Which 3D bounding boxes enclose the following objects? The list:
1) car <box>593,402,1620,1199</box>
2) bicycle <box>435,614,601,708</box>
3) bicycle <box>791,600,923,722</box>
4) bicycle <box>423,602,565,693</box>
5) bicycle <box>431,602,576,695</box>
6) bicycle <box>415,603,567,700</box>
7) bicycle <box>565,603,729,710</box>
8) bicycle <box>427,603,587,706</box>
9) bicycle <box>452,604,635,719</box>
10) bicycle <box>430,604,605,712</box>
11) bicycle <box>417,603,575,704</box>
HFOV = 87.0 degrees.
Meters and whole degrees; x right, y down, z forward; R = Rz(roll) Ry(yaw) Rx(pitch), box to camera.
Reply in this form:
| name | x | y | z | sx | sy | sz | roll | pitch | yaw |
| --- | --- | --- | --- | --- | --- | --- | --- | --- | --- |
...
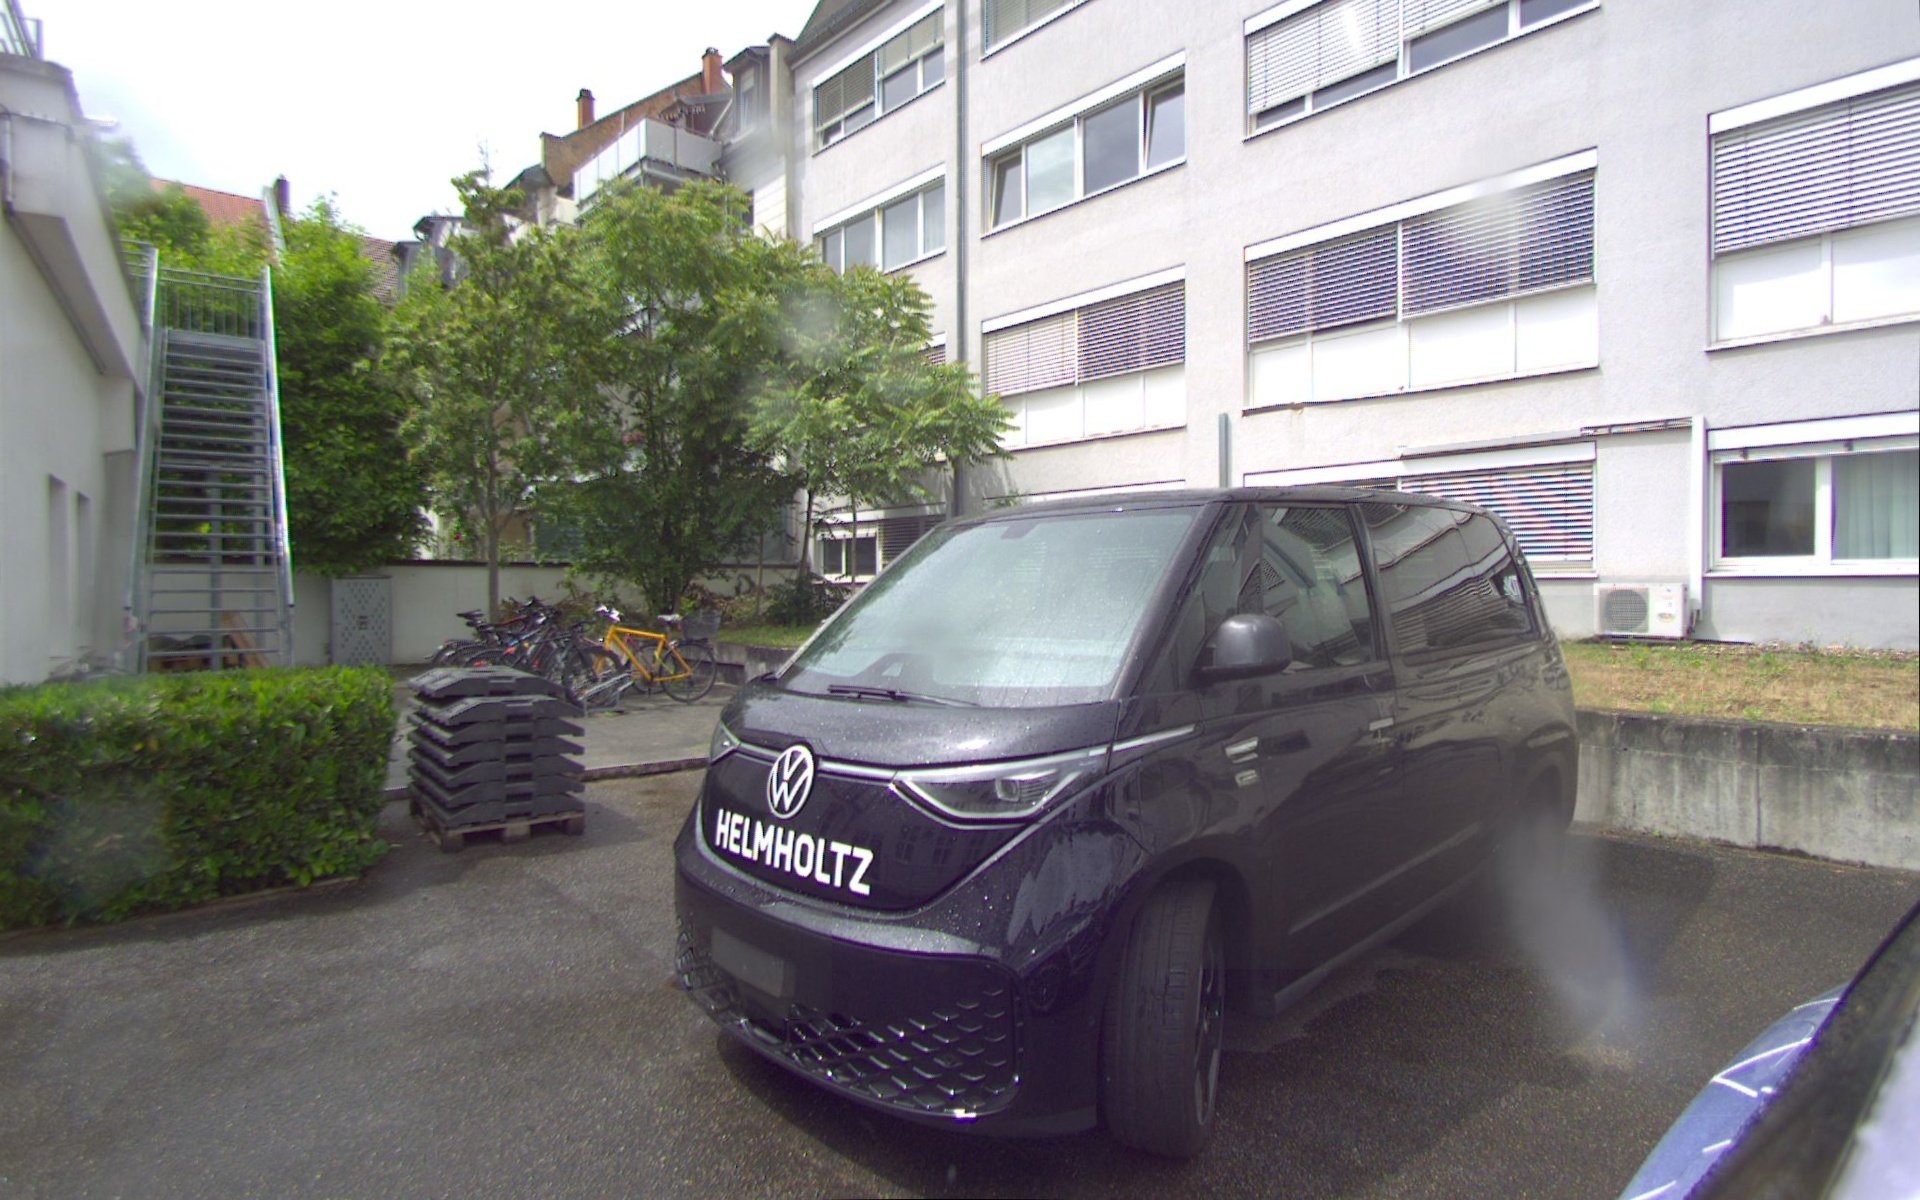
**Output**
| name | x | y | z | sx | sy | sz | roll | pitch | yaw |
| --- | --- | --- | --- | --- | --- | --- | --- | --- | --- |
| car | 1.107 | 0.464 | 4.390 | 4.671 | 1.888 | 1.965 | -3 | 2 | -44 |
| bicycle | -5.128 | 0.684 | 11.832 | 1.766 | 0.979 | 0.329 | -1 | 1 | -43 |
| bicycle | -1.114 | 0.587 | 10.598 | 0.439 | 1.117 | 1.795 | -4 | 3 | -39 |
| bicycle | -6.230 | 0.608 | 13.600 | 1.726 | 1.117 | 0.341 | -1 | 1 | -43 |
| bicycle | -5.987 | 0.608 | 13.344 | 1.726 | 1.117 | 0.354 | -1 | 1 | -43 |
| bicycle | -5.872 | 0.613 | 12.747 | 1.726 | 1.117 | 0.345 | -1 | 1 | -43 |
| bicycle | -3.542 | 0.608 | 11.535 | 1.762 | 1.117 | 0.367 | -1 | 1 | -35 |
| bicycle | -5.368 | 0.615 | 12.077 | 1.726 | 1.117 | 0.332 | -1 | 1 | -43 |
| bicycle | -4.395 | 0.619 | 10.764 | 1.762 | 1.117 | 0.405 | -1 | 1 | -35 |
| bicycle | -4.936 | 0.618 | 11.365 | 1.762 | 1.117 | 0.355 | -1 | 1 | -35 |
| bicycle | -5.614 | 0.616 | 12.325 | 1.726 | 1.117 | 0.342 | -1 | 1 | -43 |
